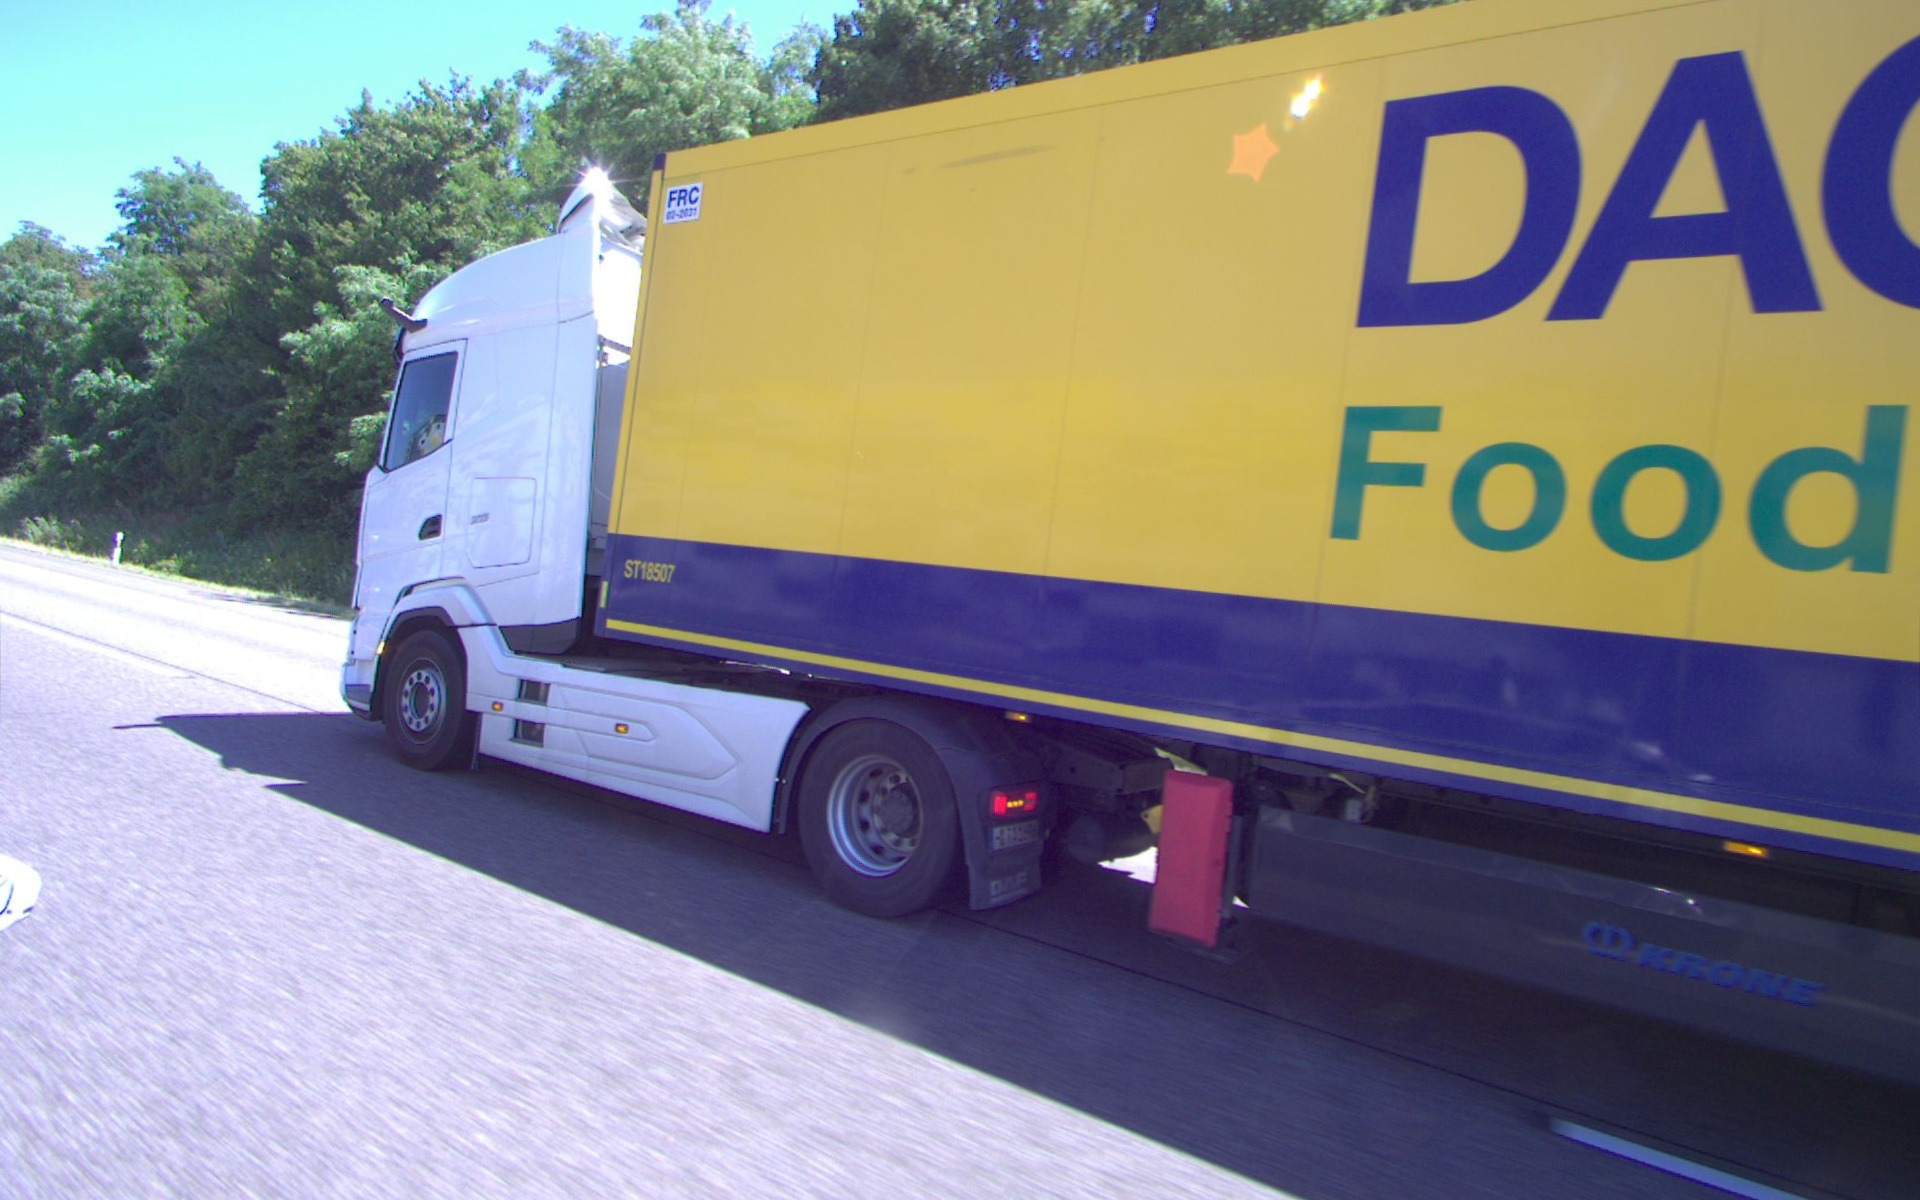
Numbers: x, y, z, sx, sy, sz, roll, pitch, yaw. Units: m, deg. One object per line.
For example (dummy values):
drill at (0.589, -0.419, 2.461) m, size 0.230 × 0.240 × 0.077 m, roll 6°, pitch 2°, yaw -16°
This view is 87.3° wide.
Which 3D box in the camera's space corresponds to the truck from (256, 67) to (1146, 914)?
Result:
truck at (-2.122, -0.694, 7.562) m, size 5.948 × 4.118 × 2.682 m, roll 7°, pitch -1°, yaw 31°

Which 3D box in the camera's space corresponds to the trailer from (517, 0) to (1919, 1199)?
trailer at (3.949, -0.036, 3.808) m, size 13.605 × 4.118 × 2.682 m, roll 6°, pitch -1°, yaw 32°
